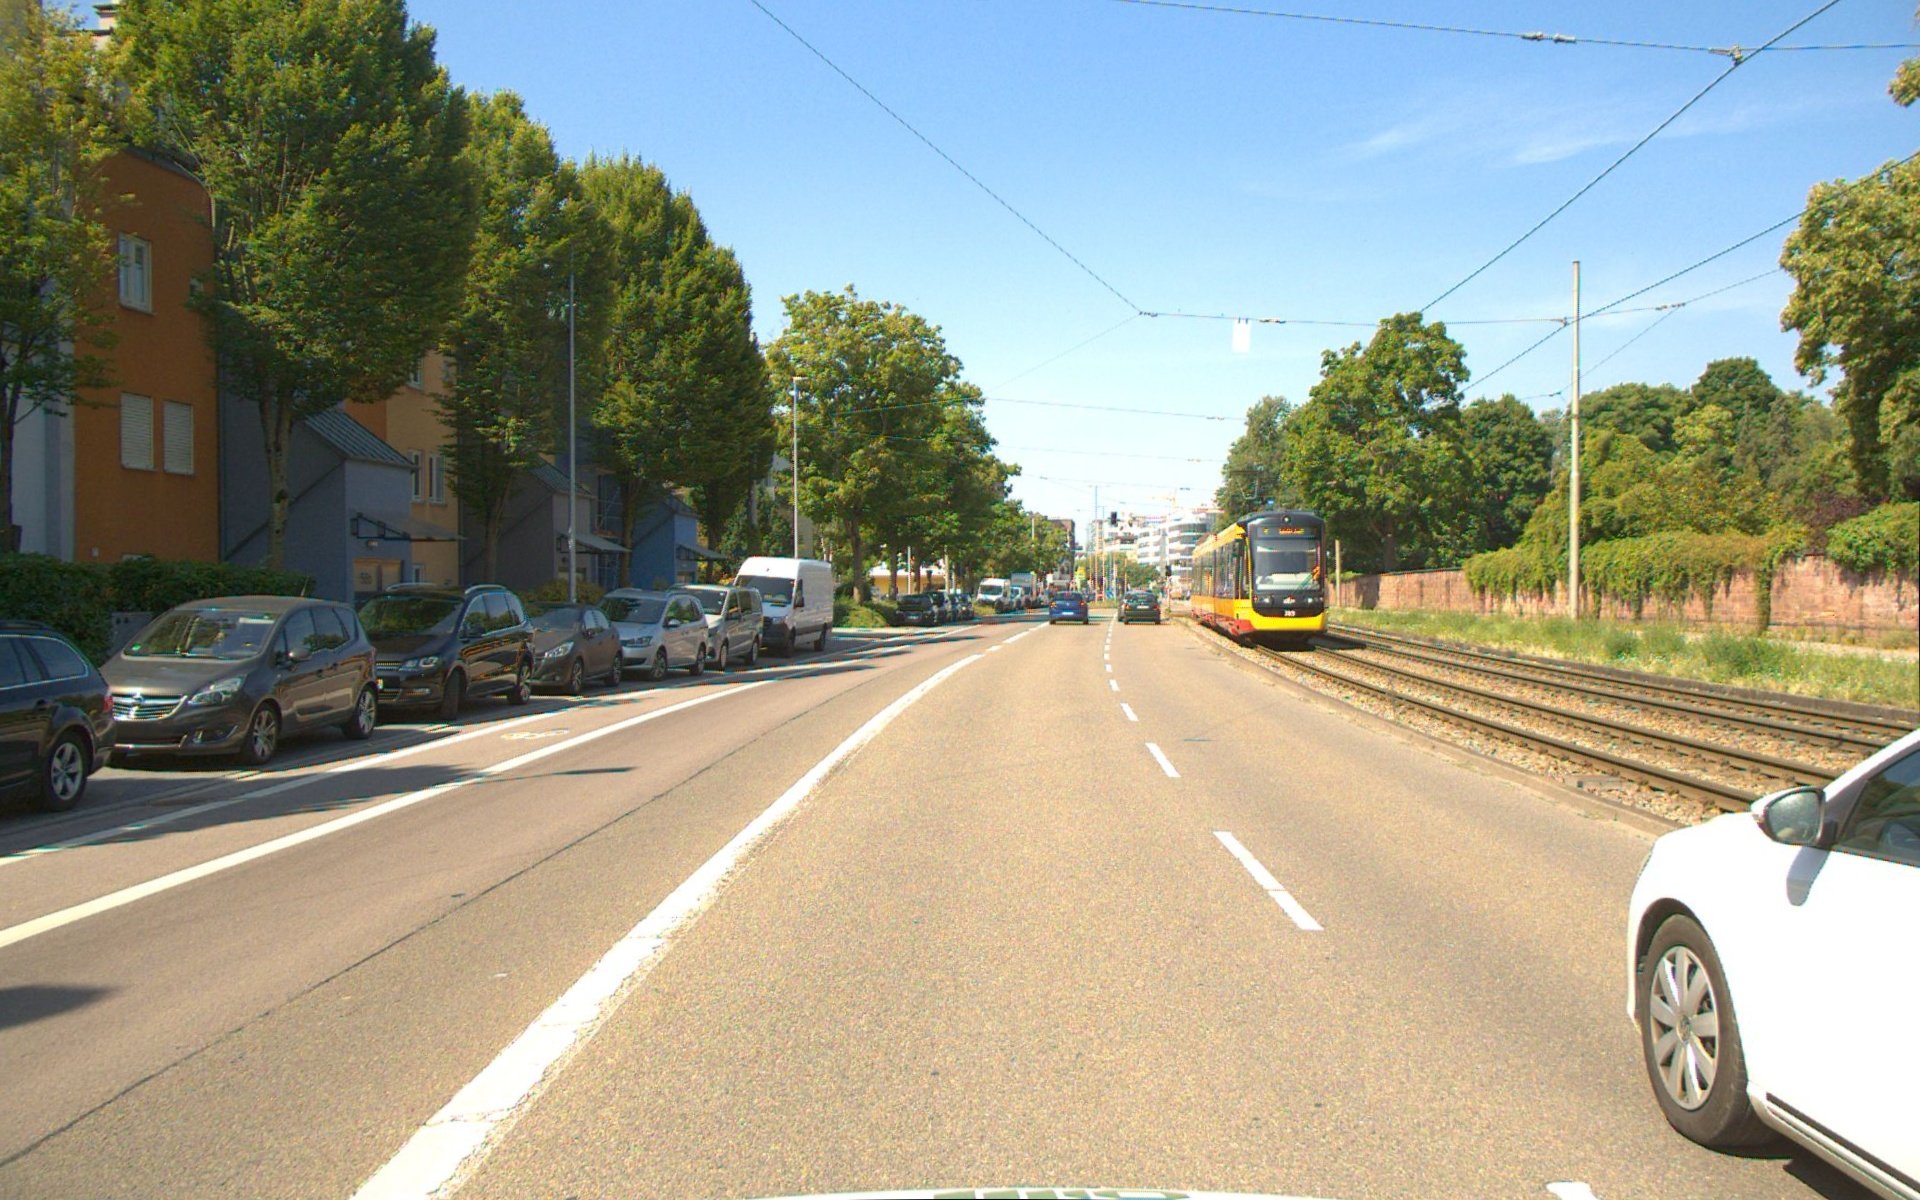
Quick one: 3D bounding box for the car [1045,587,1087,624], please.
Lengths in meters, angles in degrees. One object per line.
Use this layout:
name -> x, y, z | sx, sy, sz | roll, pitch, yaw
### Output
car -> 4.768, 0.207, 73.842 | 1.762, 1.533, 4.003 | 1, 1, 5

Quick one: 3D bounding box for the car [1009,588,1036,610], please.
car -> 5.510, -0.068, 145.411 | 1.787, 1.900, 4.728 | 0, 0, 9

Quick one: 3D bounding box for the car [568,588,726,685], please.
car -> -6.307, 0.687, 33.913 | 1.762, 1.754, 4.913 | 3, 0, 6

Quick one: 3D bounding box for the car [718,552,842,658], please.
car -> -5.089, 0.126, 47.922 | 1.952, 2.761, 7.162 | 2, 0, 6

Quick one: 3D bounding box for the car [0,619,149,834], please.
car -> -7.805, 0.932, 11.785 | 1.687, 1.500, 4.715 | 1, 0, 0

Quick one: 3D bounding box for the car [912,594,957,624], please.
car -> -1.292, 0.449, 85.554 | 1.663, 1.508, 4.003 | 0, 0, 9

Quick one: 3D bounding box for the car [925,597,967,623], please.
car -> -0.747, 0.548, 90.948 | 1.663, 1.376, 4.003 | 0, 0, 9

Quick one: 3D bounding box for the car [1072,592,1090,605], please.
car -> 12.791, -0.182, 174.342 | 1.663, 1.295, 4.003 | 0, 0, 7

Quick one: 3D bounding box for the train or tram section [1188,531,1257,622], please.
train or tram section -> 11.935, -1.014, 76.126 | 2.458, 3.812, 13.320 | 0, 0, 6

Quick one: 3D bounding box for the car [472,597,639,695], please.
car -> -6.942, 0.740, 28.781 | 1.655, 1.500, 4.050 | 2, 0, 3

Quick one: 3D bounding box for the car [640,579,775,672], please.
car -> -5.958, 0.565, 39.698 | 1.879, 1.982, 5.357 | 2, 0, 5

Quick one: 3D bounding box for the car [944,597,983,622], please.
car -> 0.205, 0.529, 96.187 | 1.663, 1.376, 4.003 | 0, 0, 9

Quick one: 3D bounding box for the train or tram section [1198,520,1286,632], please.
train or tram section -> 10.547, -0.853, 62.935 | 2.458, 3.812, 13.320 | 0, 0, 6

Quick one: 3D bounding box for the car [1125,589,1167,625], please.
car -> 8.427, 0.283, 75.208 | 1.762, 1.533, 4.003 | 1, 1, 5

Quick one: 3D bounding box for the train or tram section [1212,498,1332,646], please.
train or tram section -> 9.145, -0.762, 49.718 | 2.458, 3.812, 13.320 | 0, 0, 6

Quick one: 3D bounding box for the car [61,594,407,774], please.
car -> -7.574, 0.783, 17.766 | 1.681, 1.653, 4.313 | 1, 0, 2

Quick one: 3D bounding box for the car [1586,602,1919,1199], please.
car -> 2.886, 0.764, 3.187 | 1.657, 1.476, 4.458 | 0, 0, 0

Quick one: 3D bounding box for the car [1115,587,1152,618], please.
car -> 8.606, 0.109, 82.265 | 1.762, 1.485, 4.003 | 1, 1, 5

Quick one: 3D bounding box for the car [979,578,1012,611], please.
car -> 2.724, -0.419, 125.034 | 1.840, 2.458, 5.120 | 0, 0, 9

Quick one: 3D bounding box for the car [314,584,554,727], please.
car -> -7.240, 0.686, 23.303 | 1.733, 1.753, 4.870 | 2, 0, 1

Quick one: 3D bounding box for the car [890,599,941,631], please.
car -> -2.069, 0.695, 77.980 | 1.663, 1.442, 4.003 | 0, 0, 9
